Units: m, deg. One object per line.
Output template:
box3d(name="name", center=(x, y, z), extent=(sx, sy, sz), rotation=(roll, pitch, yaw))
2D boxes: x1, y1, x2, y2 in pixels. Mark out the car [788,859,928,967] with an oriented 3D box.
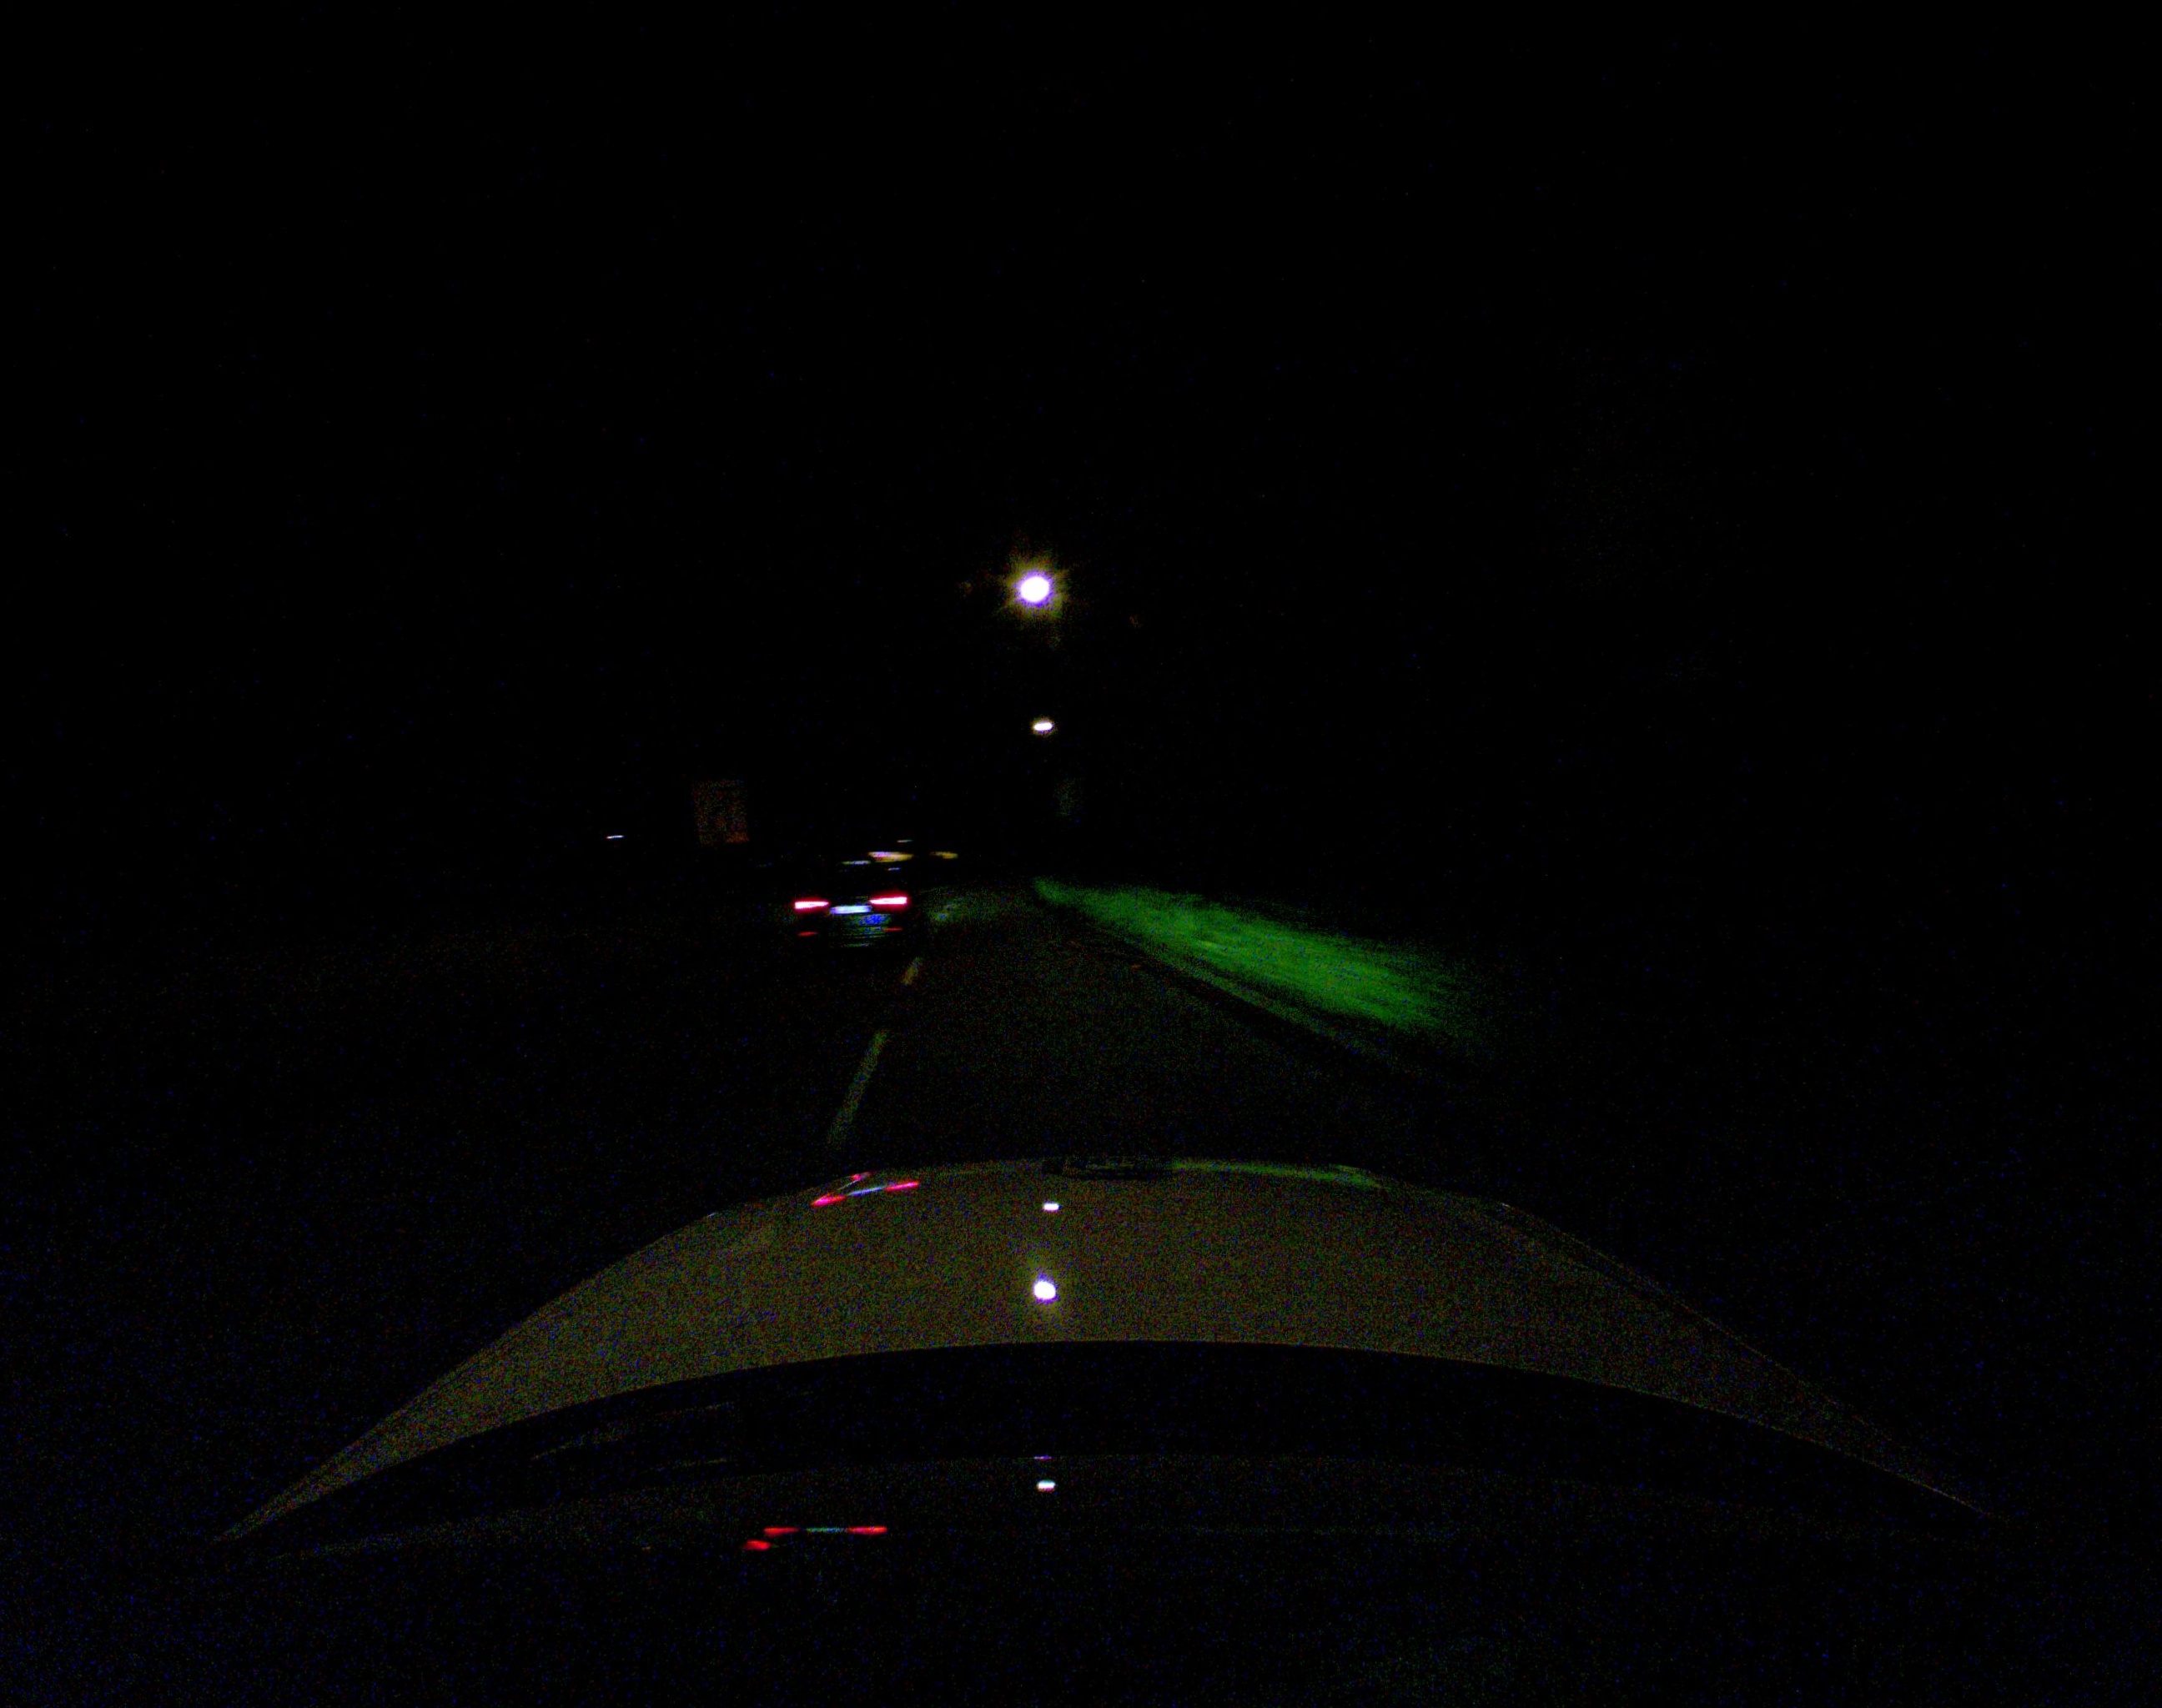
box3d(name="car", center=(-3.796, 0.923, 14.532), extent=(1.851, 1.582, 3.996), rotation=(-1, -1, -8))
